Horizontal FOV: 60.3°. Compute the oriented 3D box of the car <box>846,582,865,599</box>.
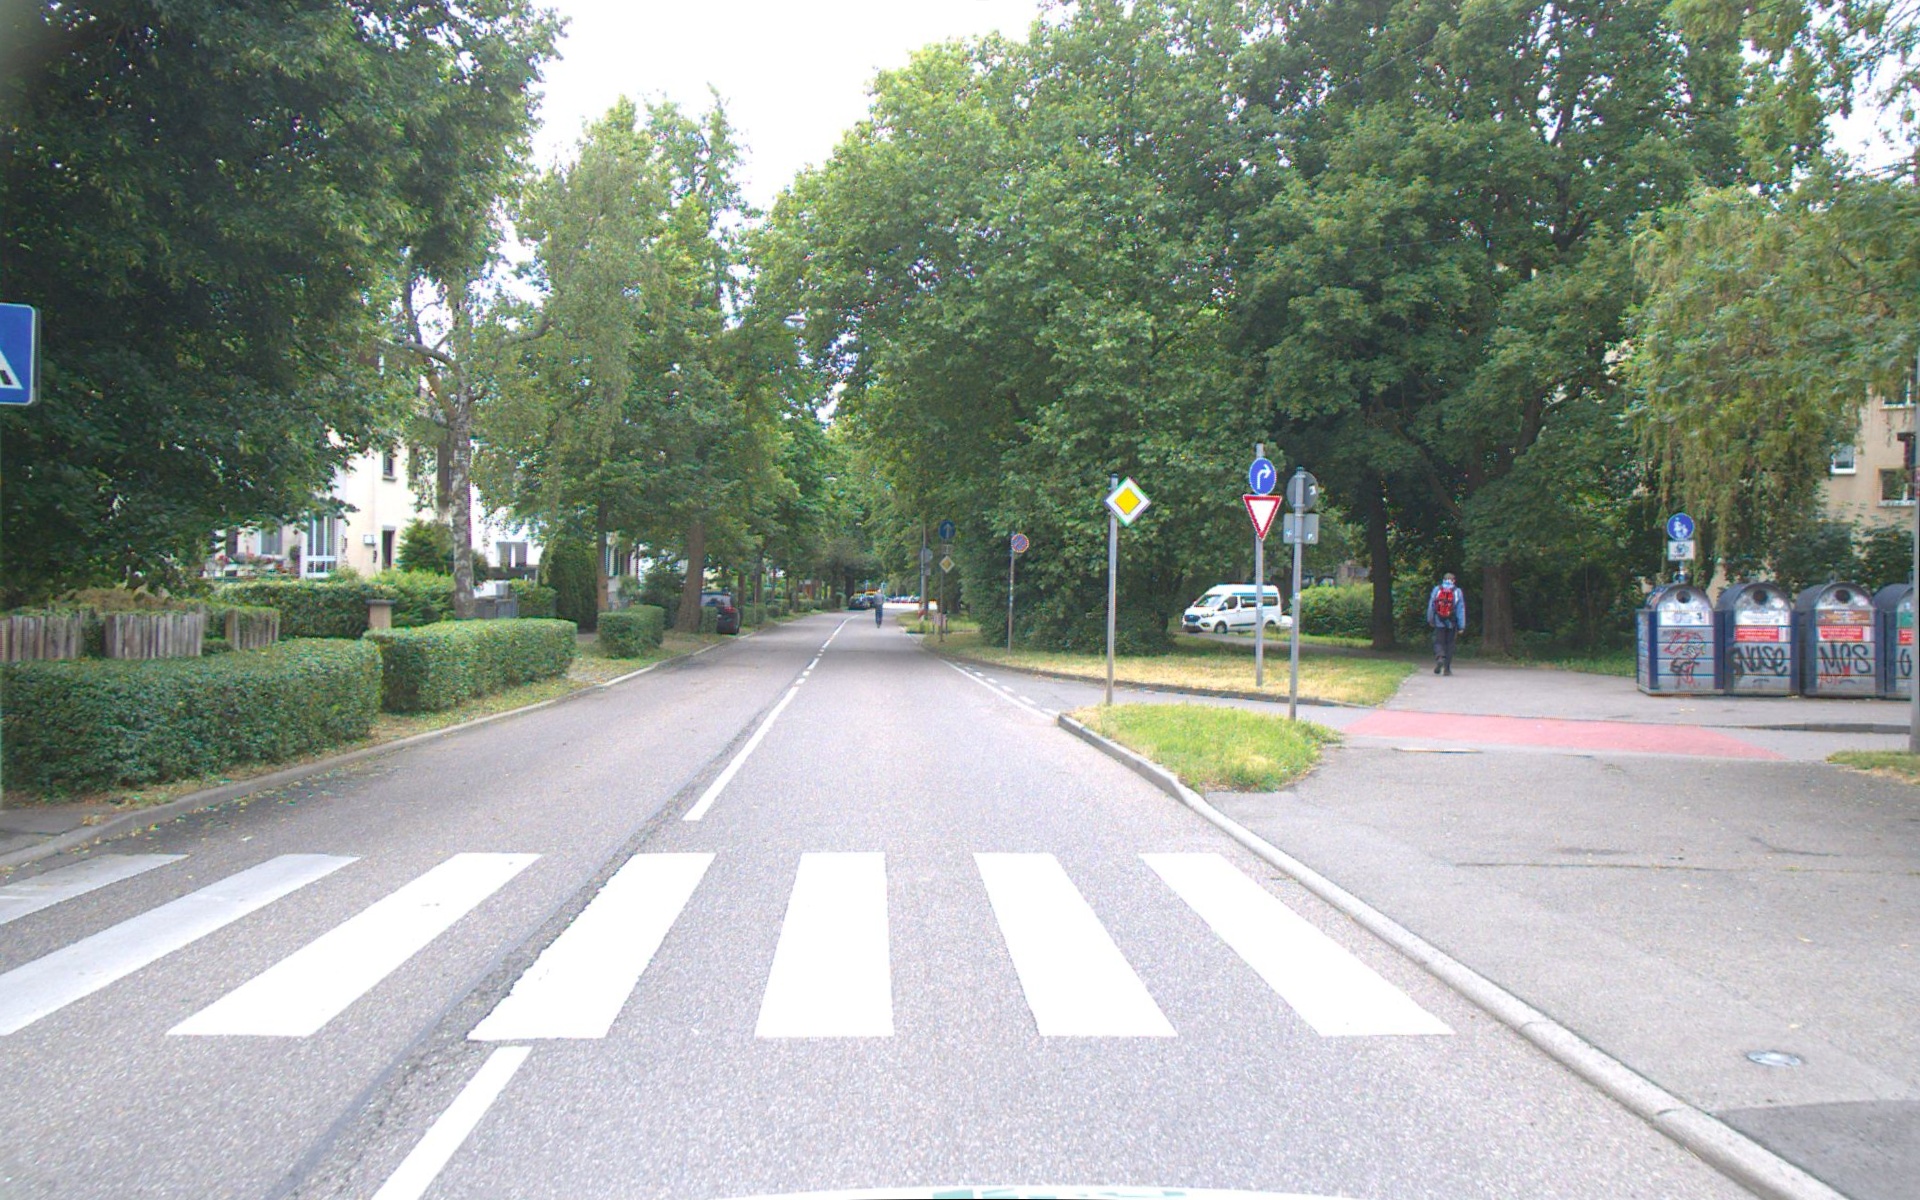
[{"bbox_3d":[-10.895,-0.999,172.572,1.798,1.524,3.654,4,3,-4],"label":"car"}]

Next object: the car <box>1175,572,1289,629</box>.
[{"bbox_3d":[12.702,0.040,76.989,5.331,2.336,2.109,2,3,-39],"label":"car"}]

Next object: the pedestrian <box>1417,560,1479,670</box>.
[{"bbox_3d":[8.879,0.257,30.114,0.904,1.903,1.020,-2,3,9],"label":"pedestrian"}]

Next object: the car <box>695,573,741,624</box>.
[{"bbox_3d":[-9.483,-0.086,64.990,1.611,1.754,3.795,4,2,-7],"label":"car"}]

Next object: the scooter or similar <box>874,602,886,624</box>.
[{"bbox_3d":[-4.075,0.681,84.221,0.588,1.073,0.873,0,3,-1],"label":"scooter or similar"}]

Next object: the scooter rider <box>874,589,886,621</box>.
[{"bbox_3d":[-4.078,0.258,84.360,0.588,1.579,0.566,0,2,-1],"label":"scooter rider"}]
